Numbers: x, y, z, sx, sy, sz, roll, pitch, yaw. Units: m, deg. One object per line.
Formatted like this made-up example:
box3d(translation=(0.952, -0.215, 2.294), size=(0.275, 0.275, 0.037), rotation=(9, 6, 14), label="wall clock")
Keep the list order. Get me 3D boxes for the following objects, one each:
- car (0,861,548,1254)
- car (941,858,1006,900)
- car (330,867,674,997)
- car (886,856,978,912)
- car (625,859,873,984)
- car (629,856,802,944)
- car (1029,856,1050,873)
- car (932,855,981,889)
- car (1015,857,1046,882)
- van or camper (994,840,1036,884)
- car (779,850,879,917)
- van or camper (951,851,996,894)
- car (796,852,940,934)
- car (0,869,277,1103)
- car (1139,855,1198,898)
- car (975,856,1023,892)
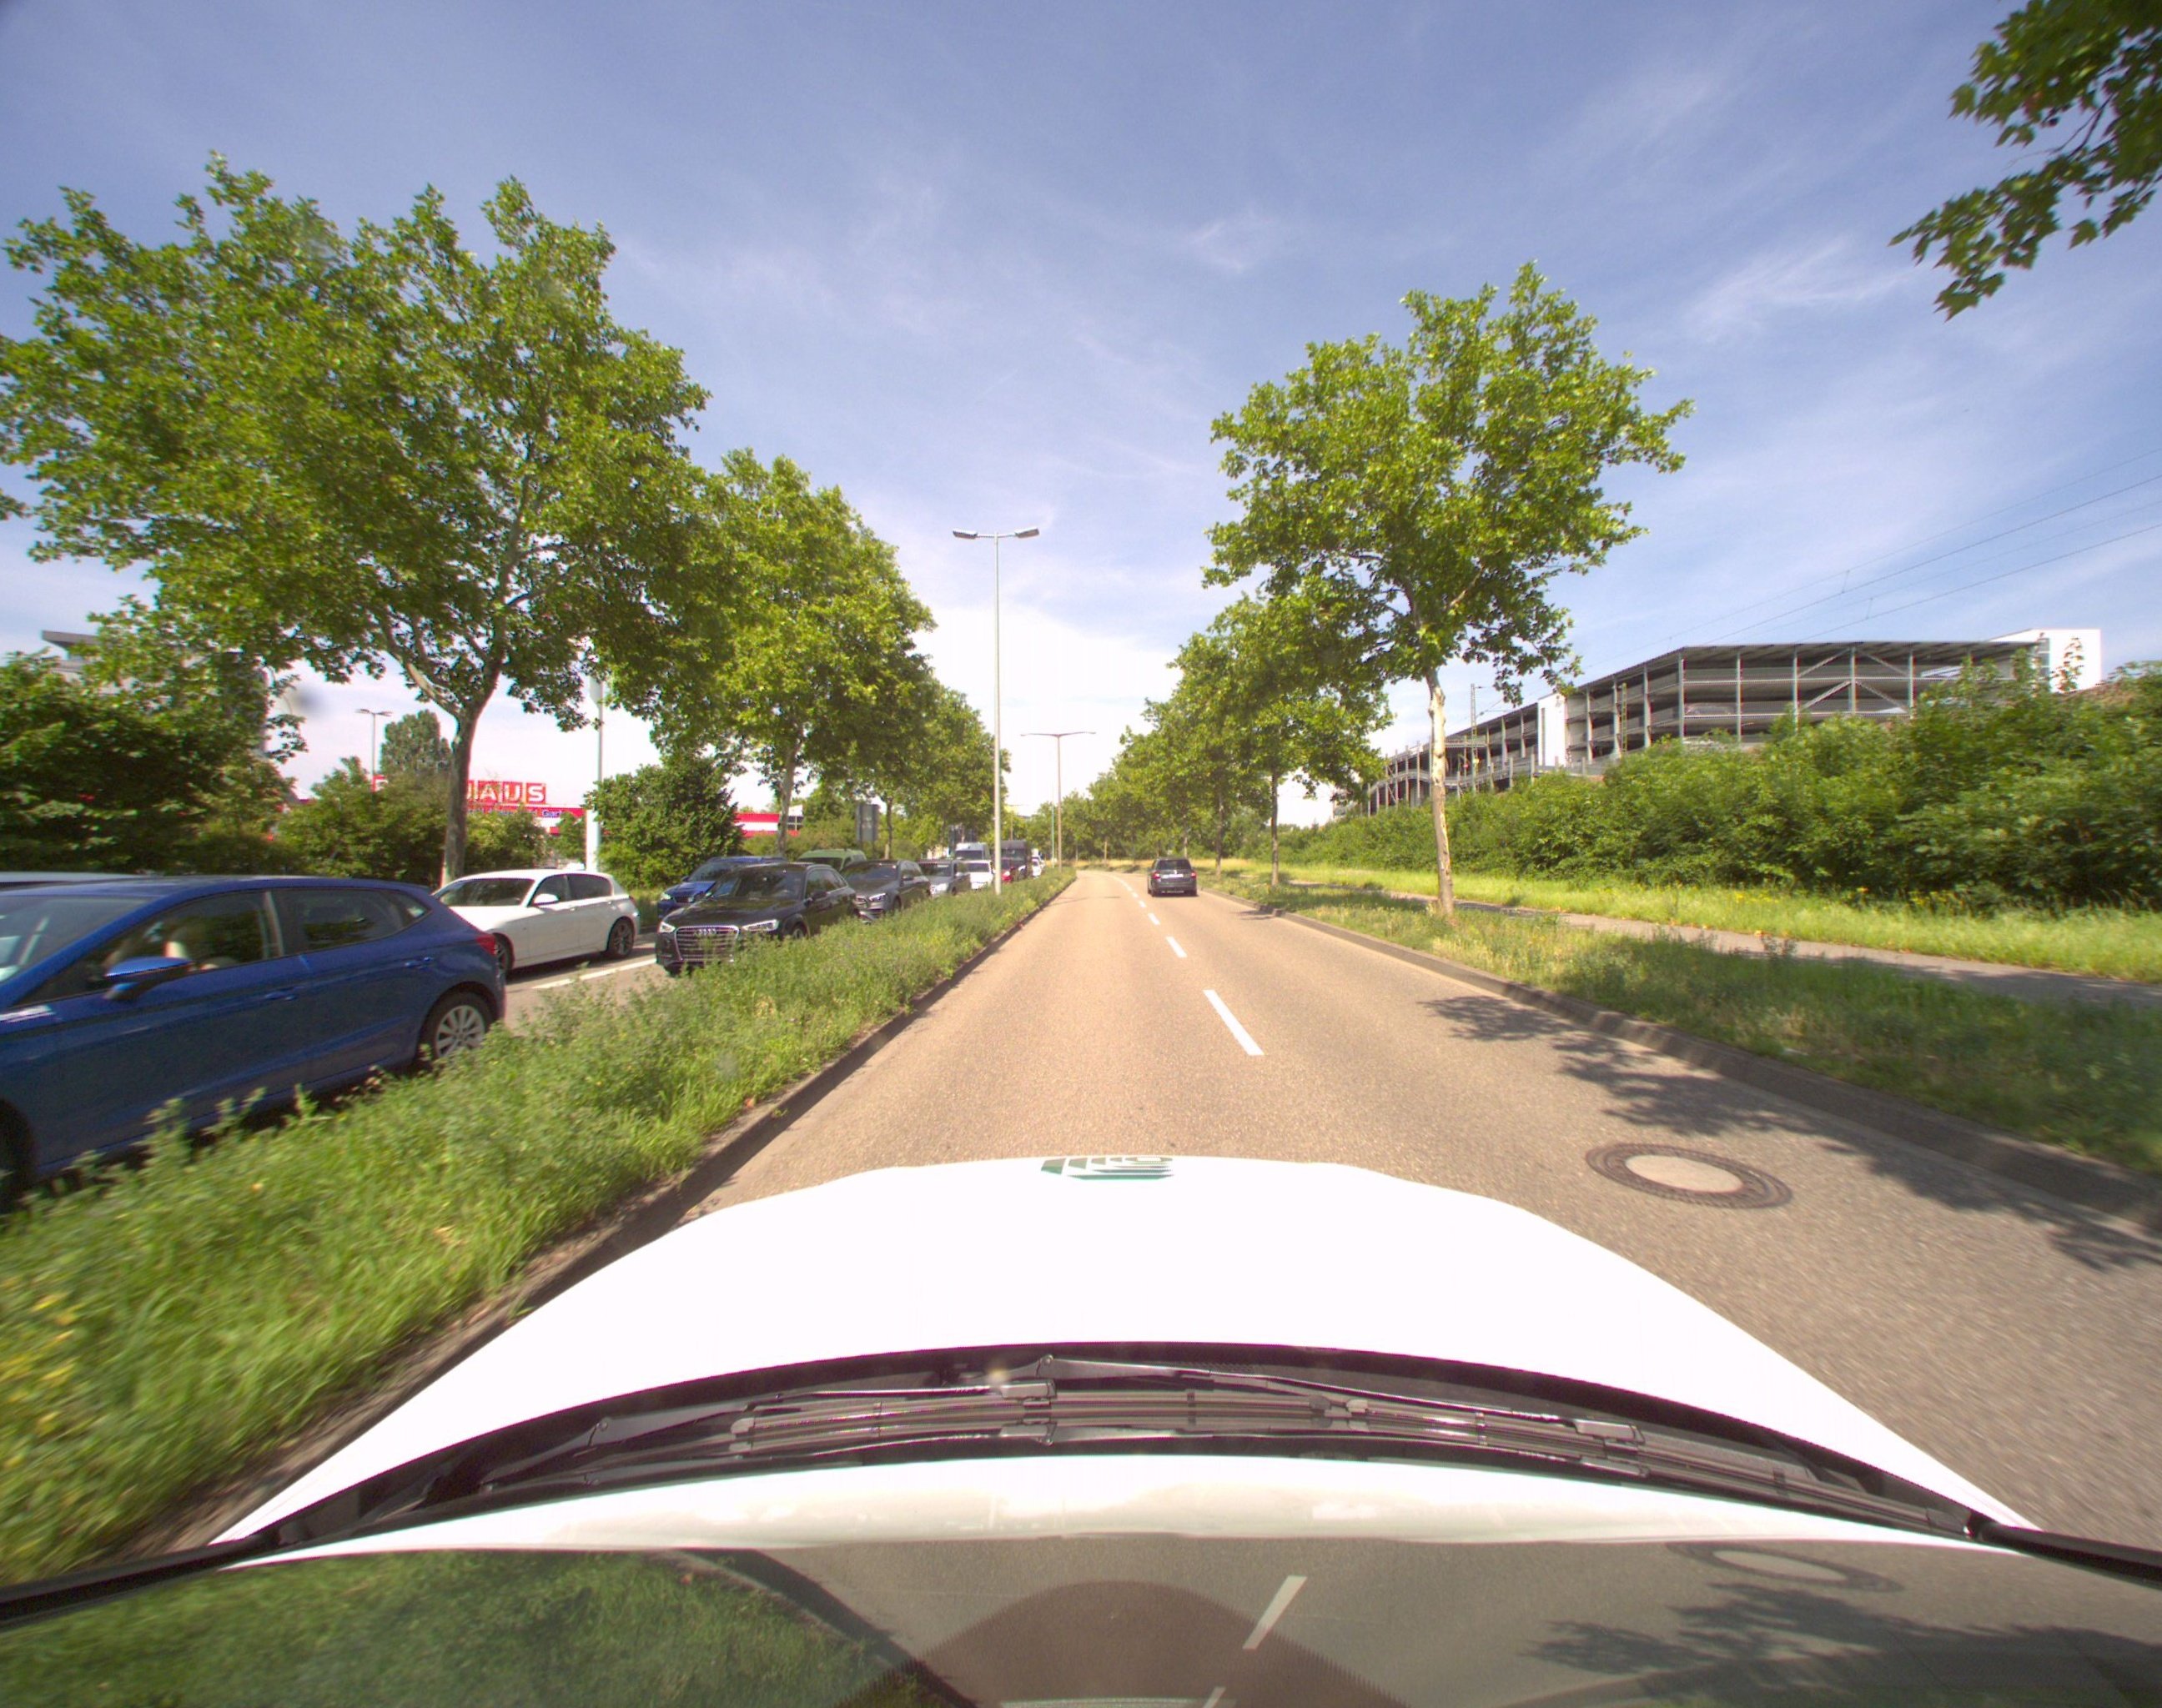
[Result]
box3d(translation=(-5.059, 0.818, 4.212), size=(1.778, 1.489, 4.211), rotation=(-1, 0, 0), label="car")
box3d(translation=(-4.046, 0.885, 31.308), size=(1.777, 1.459, 4.473), rotation=(-1, 0, 2), label="car")
box3d(translation=(-7.990, 0.963, 11.883), size=(1.725, 1.451, 4.430), rotation=(-1, 0, 2), label="car")
box3d(translation=(-4.491, 0.853, 25.238), size=(1.806, 1.530, 4.644), rotation=(-1, 0, 2), label="car")
box3d(translation=(-4.615, 0.838, 12.159), size=(1.817, 1.465, 4.450), rotation=(-1, 0, 0), label="car")
box3d(translation=(-7.748, 0.891, 17.777), size=(1.682, 1.631, 4.312), rotation=(-1, 0, 2), label="car")
box3d(translation=(-3.966, 1.005, 78.404), size=(1.682, 1.530, 3.816), rotation=(-1, 0, 2), label="car")
box3d(translation=(-6.842, 0.956, 45.146), size=(1.986, 1.756, 4.001), rotation=(-1, 0, 1), label="car")
box3d(translation=(-3.357, 1.025, 54.376), size=(1.682, 1.530, 3.815), rotation=(-1, -1, 2), label="car")
box3d(translation=(-3.744, 0.456, 46.890), size=(1.932, 2.369, 5.397), rotation=(-1, -1, 0), label="van or camper")
box3d(translation=(-7.625, 0.858, 25.005), size=(1.682, 1.858, 4.038), rotation=(-1, -1, 2), label="car")
box3d(translation=(-6.846, 1.121, 52.411), size=(2.007, 2.587, 5.519), rotation=(-1, 0, 2), label="van or camper")
box3d(translation=(-4.690, 0.780, 18.808), size=(1.840, 1.607, 5.010), rotation=(-1, 0, 2), label="car")
box3d(translation=(-8.088, 0.917, 5.310), size=(1.682, 1.530, 3.940), rotation=(-1, 0, 2), label="car")
box3d(translation=(3.246, 0.796, 30.857), size=(1.669, 1.453, 4.033), rotation=(2, 0, -1), label="car")
box3d(translation=(-3.737, 0.885, 37.721), size=(1.682, 1.510, 3.816), rotation=(-1, 0, 2), label="car")
